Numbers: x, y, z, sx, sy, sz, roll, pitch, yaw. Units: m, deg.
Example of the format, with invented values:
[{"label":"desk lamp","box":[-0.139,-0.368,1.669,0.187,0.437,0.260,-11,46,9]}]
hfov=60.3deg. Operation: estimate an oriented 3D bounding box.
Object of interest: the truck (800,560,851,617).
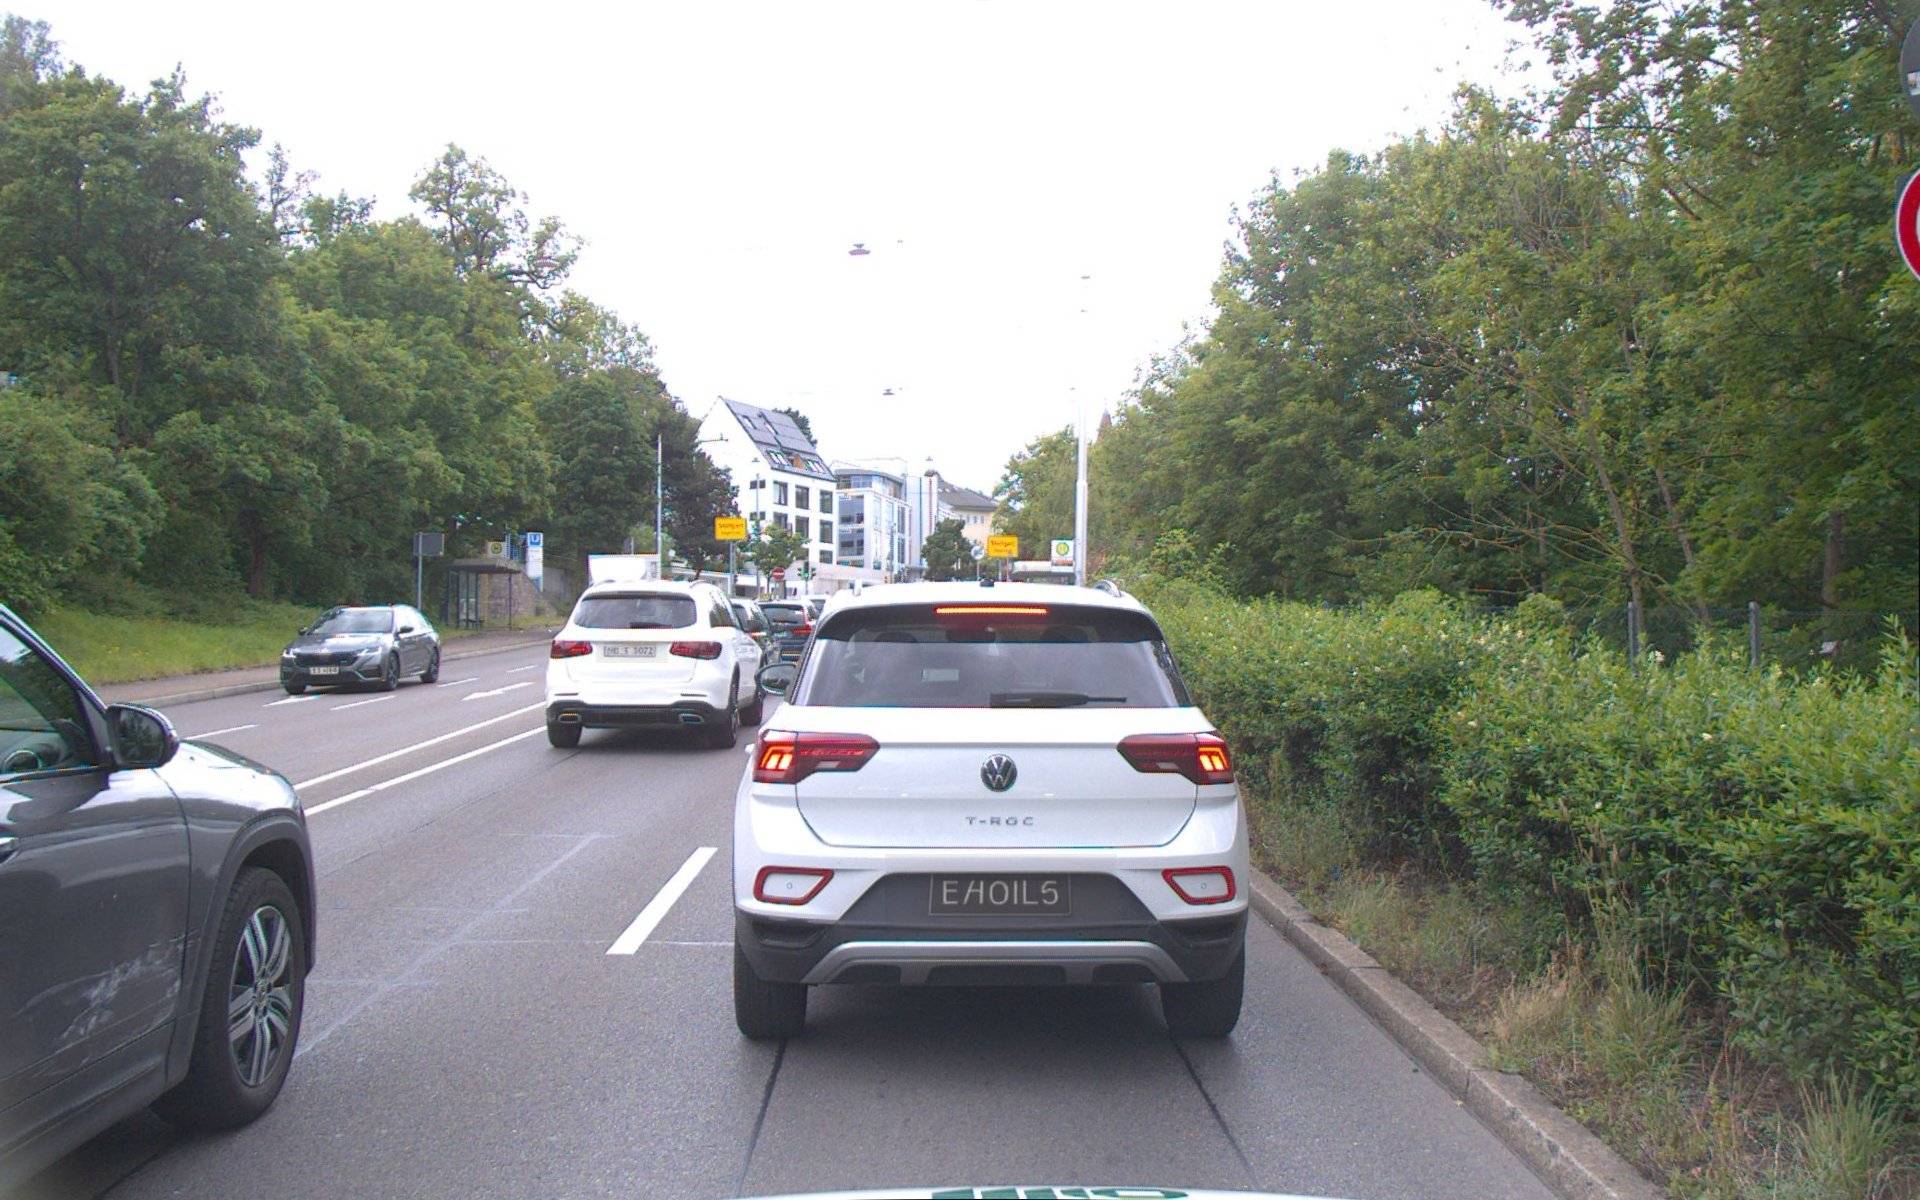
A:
[{"label":"truck","box":[-6.876,-0.589,85.214,2.315,2.830,4.476,-1,0,-2]}]

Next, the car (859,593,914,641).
[{"label":"car","box":[-2.481,0.543,56.345,1.792,1.552,3.999,-1,0,-2]}]

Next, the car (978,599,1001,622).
[{"label":"car","box":[2.662,0.973,151.334,1.953,2.049,3.999,-1,-1,0]}]

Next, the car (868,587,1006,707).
[{"label":"car","box":[-0.359,0.619,23.806,1.792,1.552,3.999,-1,0,-2]}]

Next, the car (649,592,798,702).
[{"label":"car","box":[-3.536,0.659,25.334,1.792,1.523,3.999,-1,0,-2]}]

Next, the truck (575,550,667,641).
[{"label":"truck","box":[-12.394,-0.151,60.942,2.247,3.104,6.975,-1,0,-3]}]

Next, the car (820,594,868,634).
[{"label":"car","box":[-4.720,0.547,67.680,1.792,1.552,3.999,-1,0,-2]}]

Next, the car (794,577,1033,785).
[{"label":"car","box":[-0.407,0.610,14.588,1.792,1.552,3.999,-1,0,-2]}]

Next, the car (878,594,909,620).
[{"label":"car","box":[-3.945,0.406,98.915,1.792,1.552,3.999,-1,0,-2]}]

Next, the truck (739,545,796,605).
[{"label":"truck","box":[-9.355,-1.193,80.652,2.315,2.754,4.476,-1,0,-2]}]

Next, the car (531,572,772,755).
[{"label":"car","box":[-3.106,0.591,17.452,1.879,1.698,3.999,1,0,-2]}]

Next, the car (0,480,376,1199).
[{"label":"car","box":[-2.676,0.616,3.032,1.812,1.680,4.355,0,0,-2]}]

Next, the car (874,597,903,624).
[{"label":"car","box":[-4.696,0.671,109.084,1.778,1.685,3.927,-1,0,-2]}]

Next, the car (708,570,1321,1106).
[{"label":"car","box":[0.109,0.687,6.841,1.792,1.552,3.999,0,0,-2]}]

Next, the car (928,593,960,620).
[{"label":"car","box":[-0.953,0.392,97.918,1.792,1.552,3.999,-1,0,-2]}]

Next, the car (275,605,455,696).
[{"label":"car","box":[-10.323,0.823,29.040,1.645,1.420,4.359,-1,0,-2]}]

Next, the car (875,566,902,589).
[{"label":"car","box":[-5.040,-1.552,116.556,1.792,1.552,3.999,-1,0,-2]}]

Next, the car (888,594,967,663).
[{"label":"car","box":[-0.813,0.649,40.043,1.792,1.552,3.999,-1,0,-2]}]

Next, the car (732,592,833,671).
[{"label":"car","box":[-3.712,0.630,35.166,1.792,1.552,3.999,-1,0,-2]}]

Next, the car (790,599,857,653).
[{"label":"car","box":[-4.106,0.750,50.140,1.792,1.552,3.999,-1,0,-2]}]
